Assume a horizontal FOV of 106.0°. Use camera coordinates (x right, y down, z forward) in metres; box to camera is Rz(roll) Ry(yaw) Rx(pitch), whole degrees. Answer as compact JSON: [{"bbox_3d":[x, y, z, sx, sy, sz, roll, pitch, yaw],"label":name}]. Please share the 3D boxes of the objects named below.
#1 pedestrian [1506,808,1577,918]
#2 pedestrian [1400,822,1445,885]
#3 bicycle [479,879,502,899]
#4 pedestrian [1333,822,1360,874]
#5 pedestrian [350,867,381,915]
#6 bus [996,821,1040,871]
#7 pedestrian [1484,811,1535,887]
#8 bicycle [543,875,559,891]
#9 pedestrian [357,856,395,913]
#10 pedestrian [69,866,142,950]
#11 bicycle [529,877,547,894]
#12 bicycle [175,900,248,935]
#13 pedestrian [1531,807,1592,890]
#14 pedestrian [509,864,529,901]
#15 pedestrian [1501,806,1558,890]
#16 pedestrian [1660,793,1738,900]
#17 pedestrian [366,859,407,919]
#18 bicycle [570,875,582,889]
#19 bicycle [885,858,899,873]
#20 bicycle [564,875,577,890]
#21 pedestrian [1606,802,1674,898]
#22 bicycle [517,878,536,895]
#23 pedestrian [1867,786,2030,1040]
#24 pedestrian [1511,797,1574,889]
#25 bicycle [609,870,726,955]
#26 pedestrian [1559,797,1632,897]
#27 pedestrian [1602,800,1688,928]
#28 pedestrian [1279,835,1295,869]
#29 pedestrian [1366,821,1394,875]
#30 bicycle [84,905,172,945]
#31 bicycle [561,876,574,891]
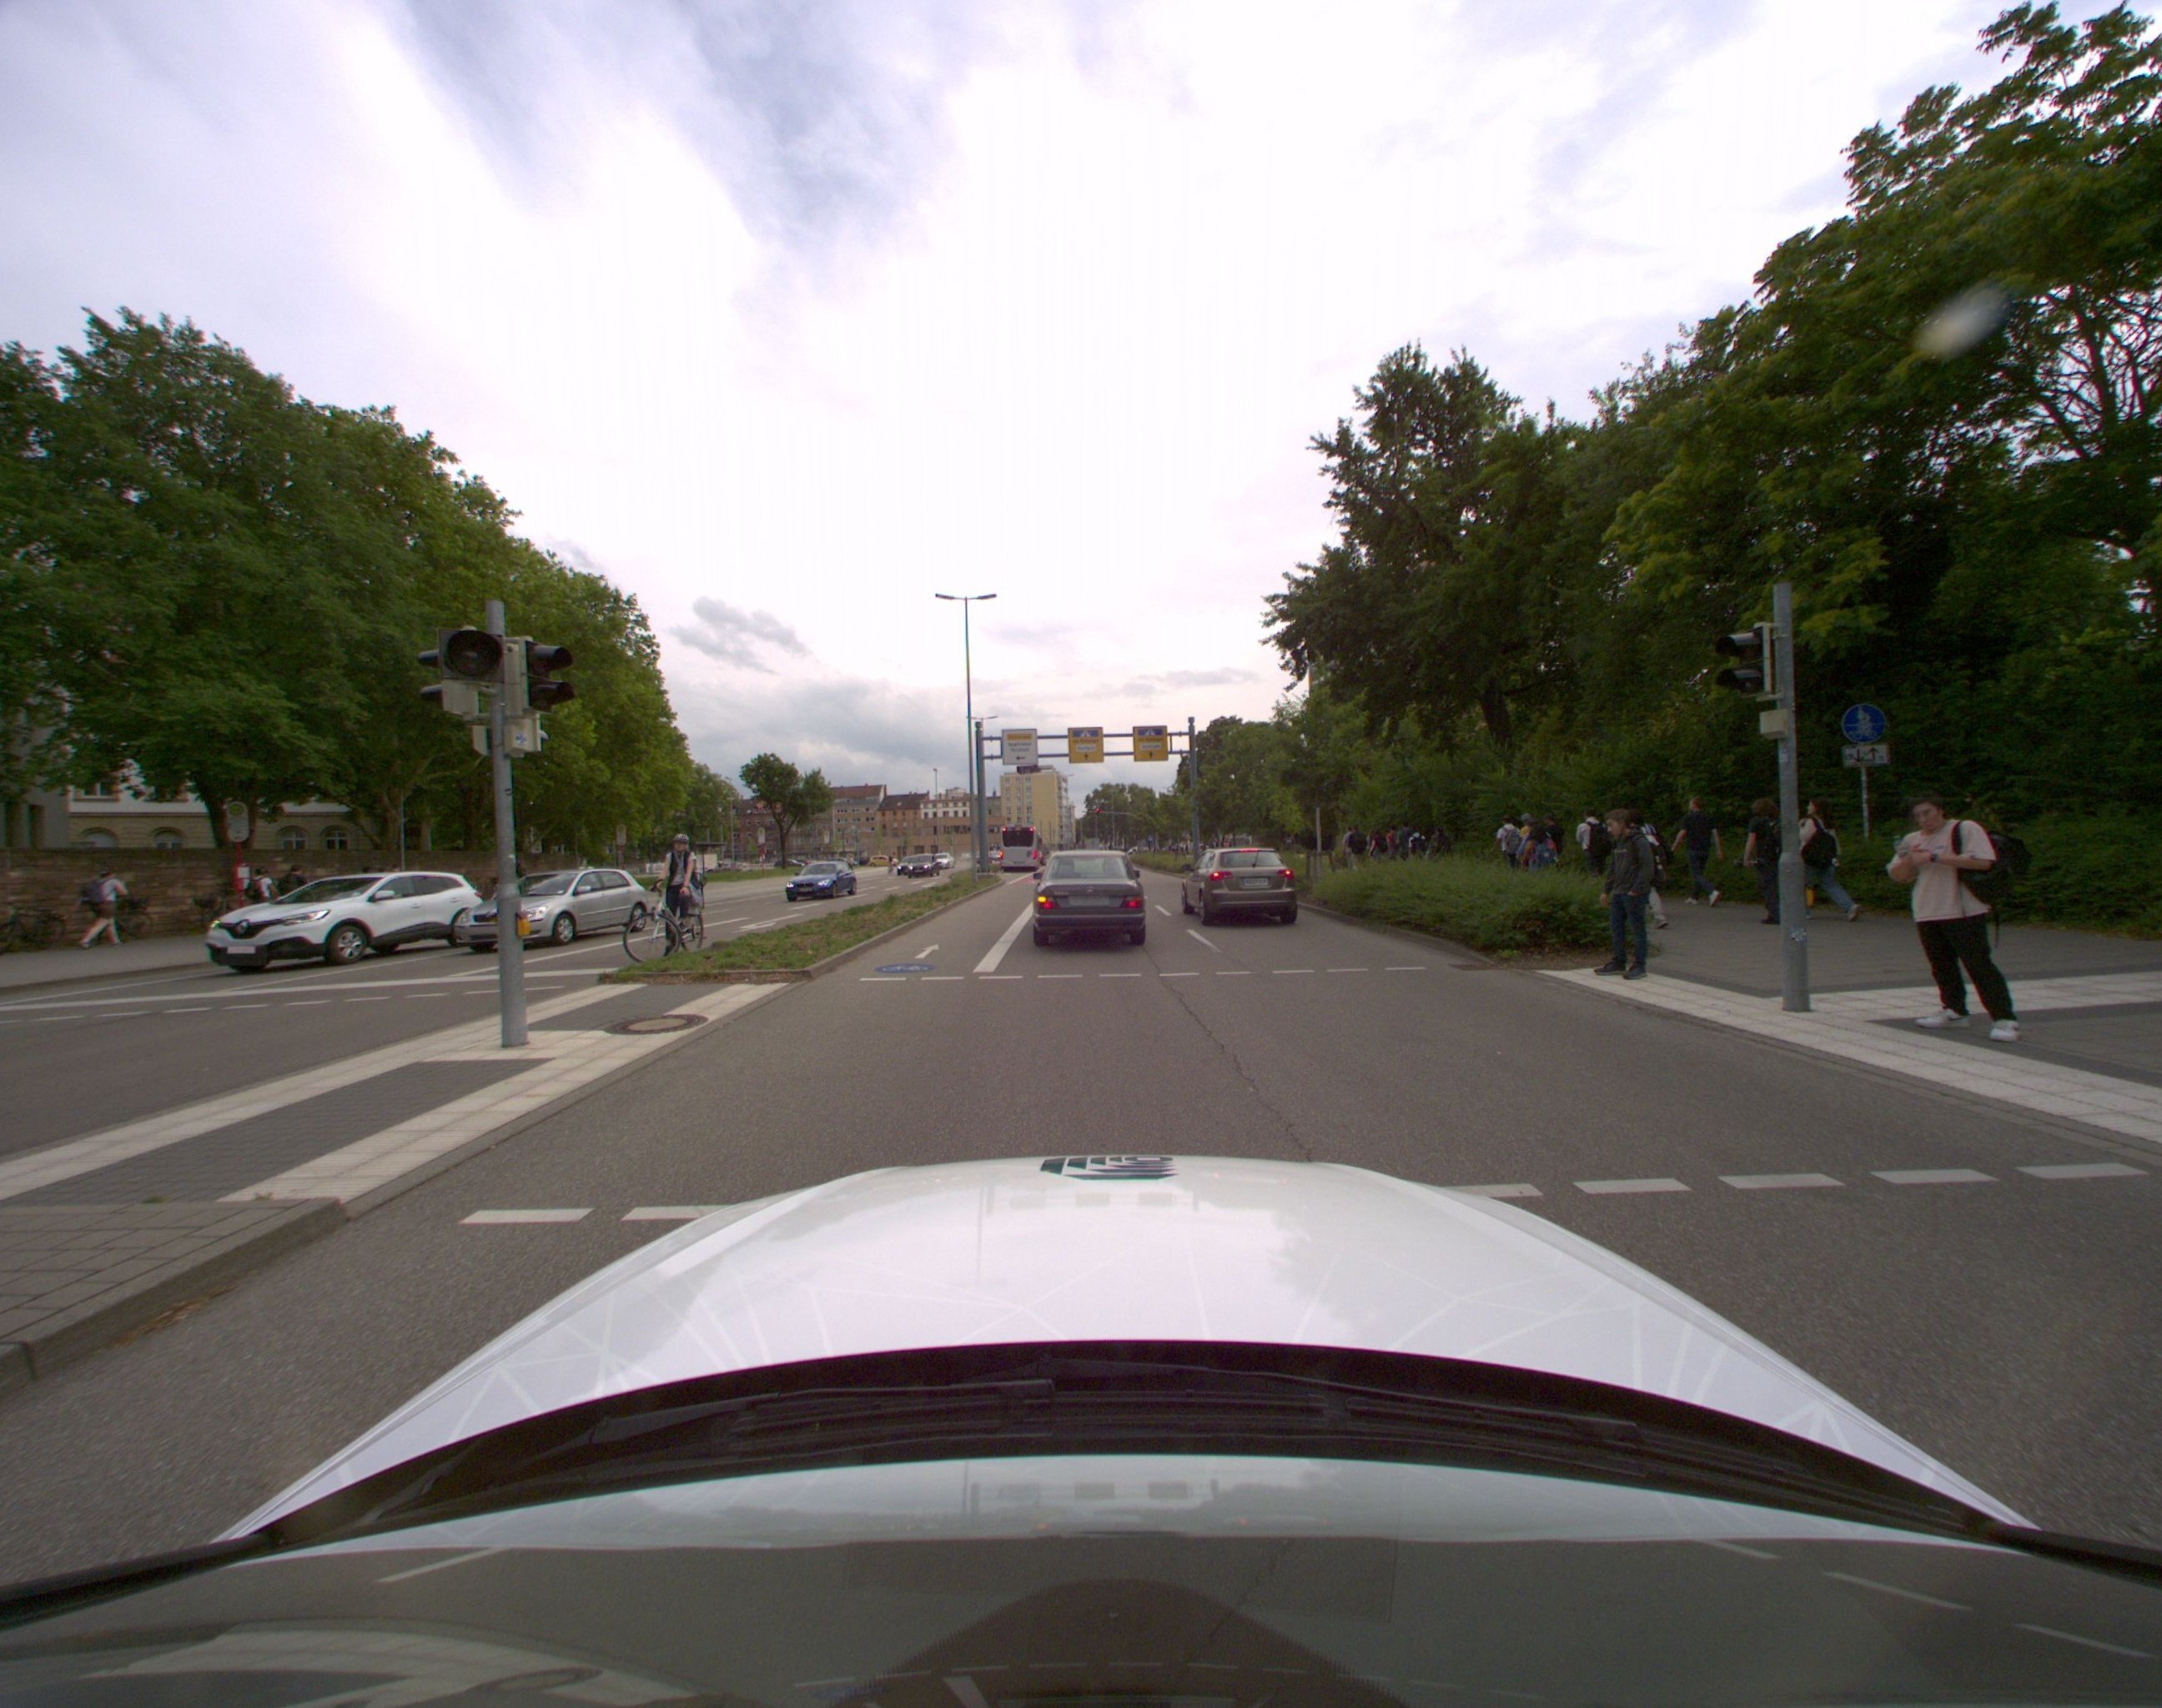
[{"bbox_3d":[7.601,0.146,13.470,0.655,1.745,0.779,-2,0,-3],"label":"pedestrian"},{"bbox_3d":[8.965,-0.022,21.420,0.773,1.602,0.812,-2,0,-1],"label":"pedestrian"},{"bbox_3d":[-27.471,1.619,37.907,0.417,0.878,1.546,0,-1,-18],"label":"bicycle"},{"bbox_3d":[9.226,-0.203,28.317,0.617,1.735,0.814,-2,0,0],"label":"pedestrian"},{"bbox_3d":[-24.339,1.256,27.711,0.589,1.592,0.730,-2,-1,-23],"label":"pedestrian"},{"bbox_3d":[-4.524,-0.582,59.969,2.824,3.390,8.175,-2,1,-2],"label":"bus"},{"bbox_3d":[10.144,-0.118,19.284,0.719,1.744,0.812,-2,0,0],"label":"pedestrian"},{"bbox_3d":[-30.736,1.676,47.229,0.483,0.907,1.608,-3,0,-23],"label":"bicycle"},{"bbox_3d":[-22.856,0.990,26.425,0.763,1.782,0.776,-1,-1,-30],"label":"pedestrian"},{"bbox_3d":[-21.839,1.191,18.257,0.763,1.782,0.906,-1,-1,-29],"label":"pedestrian"},{"bbox_3d":[-29.664,1.717,44.500,0.442,0.878,1.609,0,-1,-21],"label":"bicycle"},{"bbox_3d":[-23.325,1.689,21.876,0.441,0.797,1.615,0,1,-10],"label":"bicycle"},{"bbox_3d":[10.140,-0.120,17.218,0.655,1.667,0.970,-2,0,-3],"label":"pedestrian"},{"bbox_3d":[-25.798,1.286,37.365,0.561,1.668,0.623,-2,-1,-17],"label":"pedestrian"},{"bbox_3d":[9.430,-0.133,17.135,0.655,1.689,0.841,-2,0,-3],"label":"pedestrian"},{"bbox_3d":[10.484,-0.127,13.841,0.655,1.745,0.779,-2,0,-3],"label":"pedestrian"},{"bbox_3d":[-21.388,1.069,25.087,0.763,1.782,0.915,-1,-1,-29],"label":"pedestrian"},{"bbox_3d":[-34.498,1.899,55.663,0.483,0.907,1.607,0,-1,-25],"label":"bicycle"},{"bbox_3d":[-15.718,0.980,67.788,0.579,1.170,1.964,-2,0,1],"label":"bicycle"},{"bbox_3d":[-33.731,1.887,53.824,0.483,0.907,1.607,0,-1,-25],"label":"bicycle"},{"bbox_3d":[10.326,-0.078,15.057,0.655,1.699,0.779,-2,0,-3],"label":"pedestrian"},{"bbox_3d":[-28.876,1.683,42.408,0.442,0.878,1.609,0,-1,-21],"label":"bicycle"},{"bbox_3d":[6.279,0.403,5.922,0.453,1.735,0.636,-2,0,-3],"label":"pedestrian"},{"bbox_3d":[8.616,-0.212,15.227,0.655,1.648,0.811,-2,0,-3],"label":"pedestrian"},{"bbox_3d":[-5.906,0.794,11.757,0.571,1.055,1.928,-2,1,3],"label":"bicycle"},{"bbox_3d":[9.584,-0.131,15.195,0.655,1.766,0.957,-3,0,-3],"label":"pedestrian"},{"bbox_3d":[8.064,0.132,11.673,0.623,1.745,0.779,-2,0,-3],"label":"pedestrian"},{"bbox_3d":[10.507,-0.112,41.548,0.585,1.682,0.748,-2,0,0],"label":"pedestrian"},{"bbox_3d":[9.480,-0.196,25.848,0.554,1.654,0.753,-2,0,0],"label":"pedestrian"},{"bbox_3d":[-22.952,1.697,19.649,0.441,0.797,1.615,0,1,-10],"label":"bicycle"},{"bbox_3d":[-32.727,1.870,51.889,0.483,0.907,1.607,0,-1,-25],"label":"bicycle"}]
